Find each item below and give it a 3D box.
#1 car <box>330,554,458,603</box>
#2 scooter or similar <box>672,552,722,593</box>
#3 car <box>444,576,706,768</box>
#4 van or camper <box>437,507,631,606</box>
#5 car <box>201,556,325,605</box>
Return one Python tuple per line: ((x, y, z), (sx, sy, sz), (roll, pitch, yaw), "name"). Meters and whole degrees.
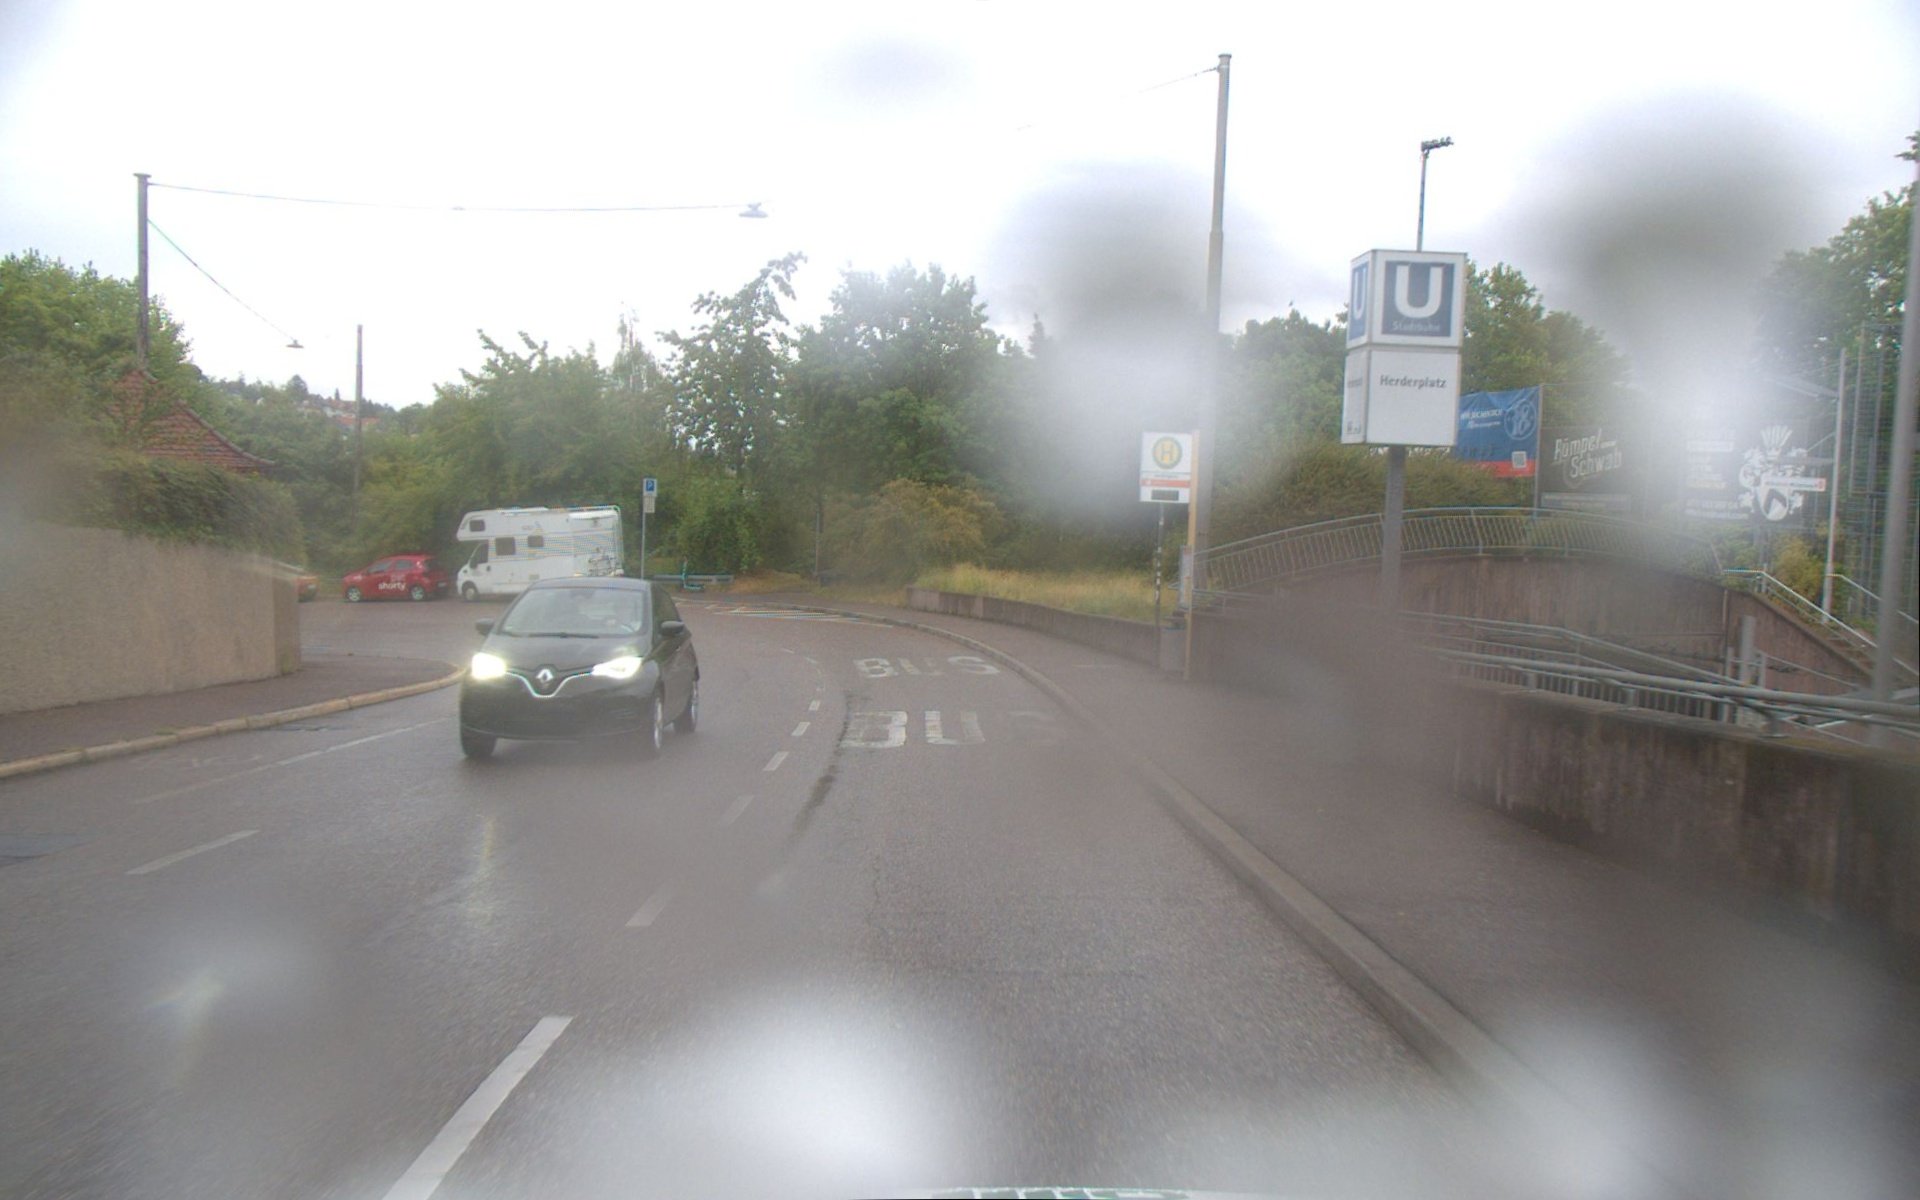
((-19.366, -0.741, 56.658), (3.713, 1.485, 1.649), (-1, 5, 11), "car")
((-8.623, -0.904, 54.166), (1.672, 1.304, 0.451), (-1, 2, 31), "scooter or similar")
((-3.436, 0.560, 15.444), (1.732, 1.547, 3.973), (0, 1, -4), "car")
((-14.032, -1.455, 54.359), (6.144, 2.993, 2.394), (1, 6, 30), "van or camper")
((-24.267, -0.696, 57.648), (3.586, 1.539, 1.566), (-1, 5, 5), "car")
